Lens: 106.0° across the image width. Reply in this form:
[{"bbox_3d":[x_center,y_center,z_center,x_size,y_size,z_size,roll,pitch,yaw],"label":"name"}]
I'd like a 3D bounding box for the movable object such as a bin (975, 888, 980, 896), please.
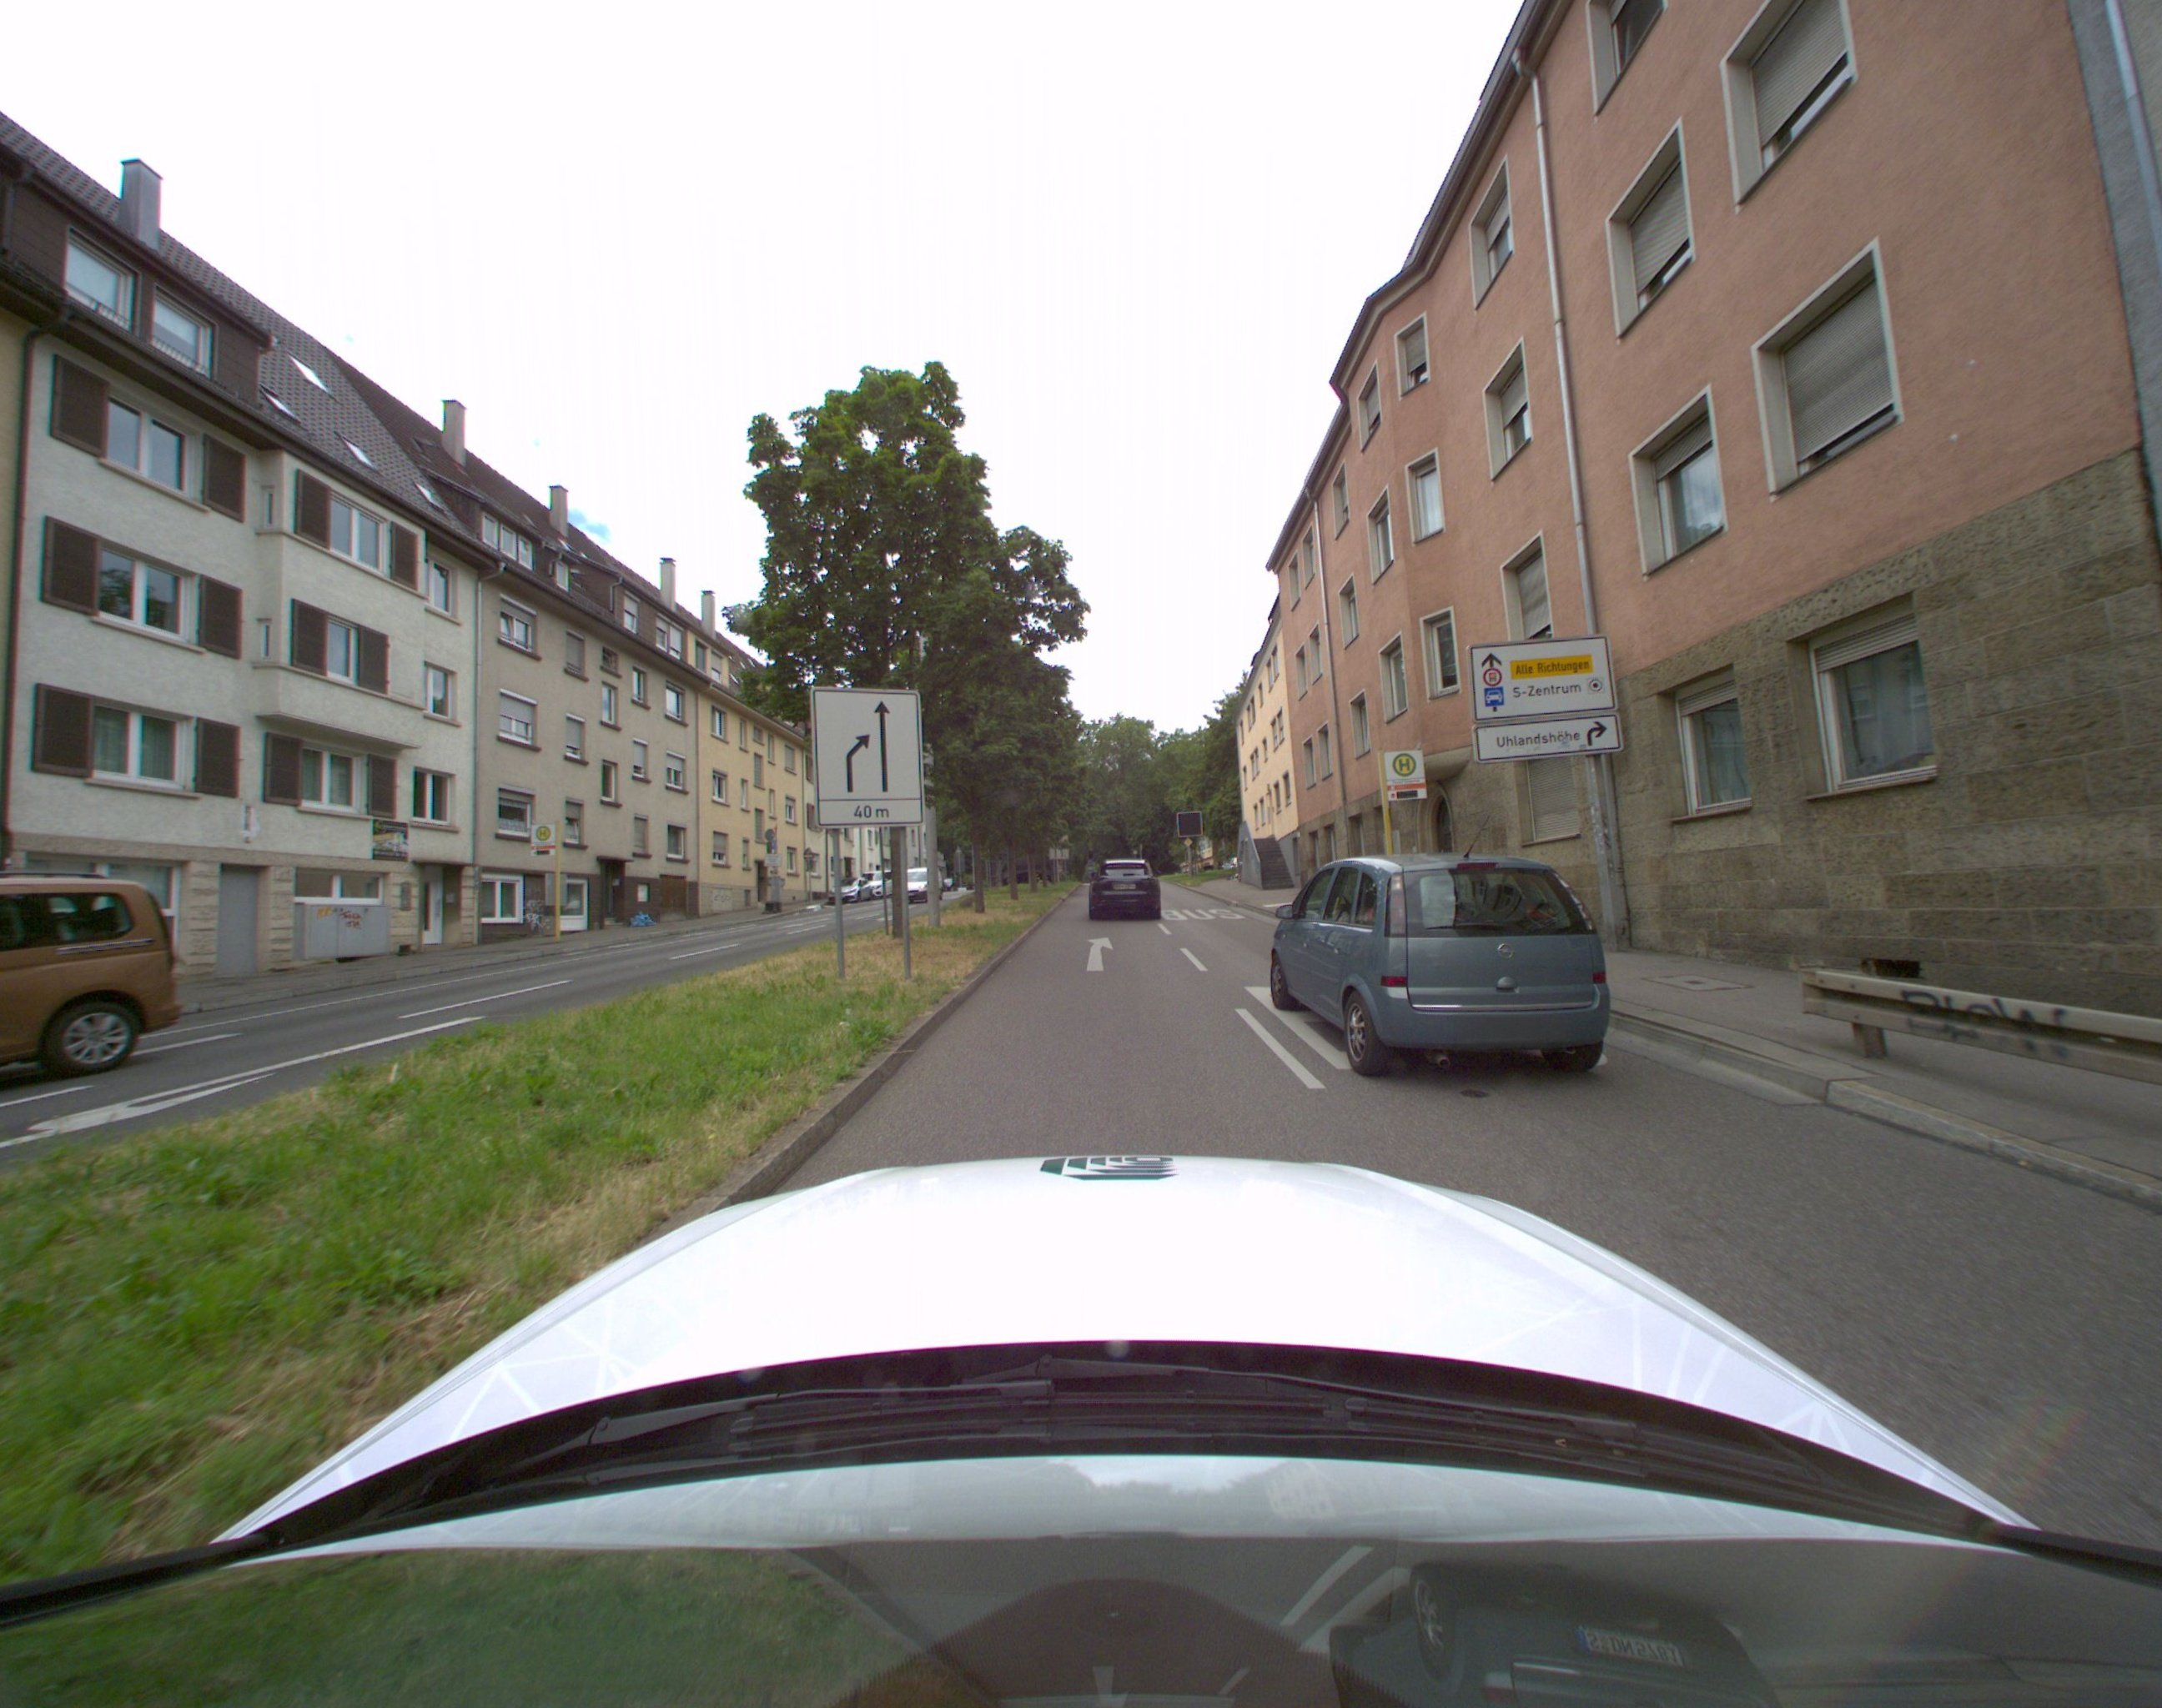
[{"bbox_3d":[-12.432,4.553,97.478,0.516,0.968,0.442,1,-4,-14],"label":"movable object such as a bin"}]

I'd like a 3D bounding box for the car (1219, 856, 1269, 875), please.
[{"bbox_3d":[14.968,1.022,74.843,4.137,1.428,1.848,-4,-1,-24],"label":"car"}]

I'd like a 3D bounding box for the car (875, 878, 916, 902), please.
[{"bbox_3d":[-13.803,2.661,60.889,1.987,1.552,4.381,-3,-2,0],"label":"car"}]

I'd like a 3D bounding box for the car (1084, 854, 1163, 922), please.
[{"bbox_3d":[1.235,0.966,23.498,1.985,1.653,4.002,-4,-2,3],"label":"car"}]

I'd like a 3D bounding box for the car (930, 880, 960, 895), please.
[{"bbox_3d":[-13.449,3.312,80.749,1.986,1.400,4.519,-3,-2,2],"label":"car"}]

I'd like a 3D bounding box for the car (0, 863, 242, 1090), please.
[{"bbox_3d":[-9.730,1.055,6.253,1.872,1.815,4.354,-3,0,2],"label":"car"}]

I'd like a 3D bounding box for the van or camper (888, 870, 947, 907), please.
[{"bbox_3d":[-8.352,1.741,42.125,1.900,1.761,4.656,-3,-2,2],"label":"van or camper"}]

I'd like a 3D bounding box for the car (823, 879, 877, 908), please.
[{"bbox_3d":[-13.936,2.380,49.412,1.987,1.552,4.157,-3,-2,0],"label":"car"}]

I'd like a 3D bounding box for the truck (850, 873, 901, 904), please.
[{"bbox_3d":[-13.898,2.308,55.497,1.987,1.920,5.346,-3,-2,0],"label":"truck"}]

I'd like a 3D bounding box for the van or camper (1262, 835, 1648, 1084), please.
[{"bbox_3d":[2.809,0.713,7.074,1.729,1.578,3.646,-1,-1,1],"label":"van or camper"}]

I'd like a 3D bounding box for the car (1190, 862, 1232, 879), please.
[{"bbox_3d":[12.634,1.580,79.187,4.023,1.418,1.975,-2,-2,-44],"label":"car"}]
